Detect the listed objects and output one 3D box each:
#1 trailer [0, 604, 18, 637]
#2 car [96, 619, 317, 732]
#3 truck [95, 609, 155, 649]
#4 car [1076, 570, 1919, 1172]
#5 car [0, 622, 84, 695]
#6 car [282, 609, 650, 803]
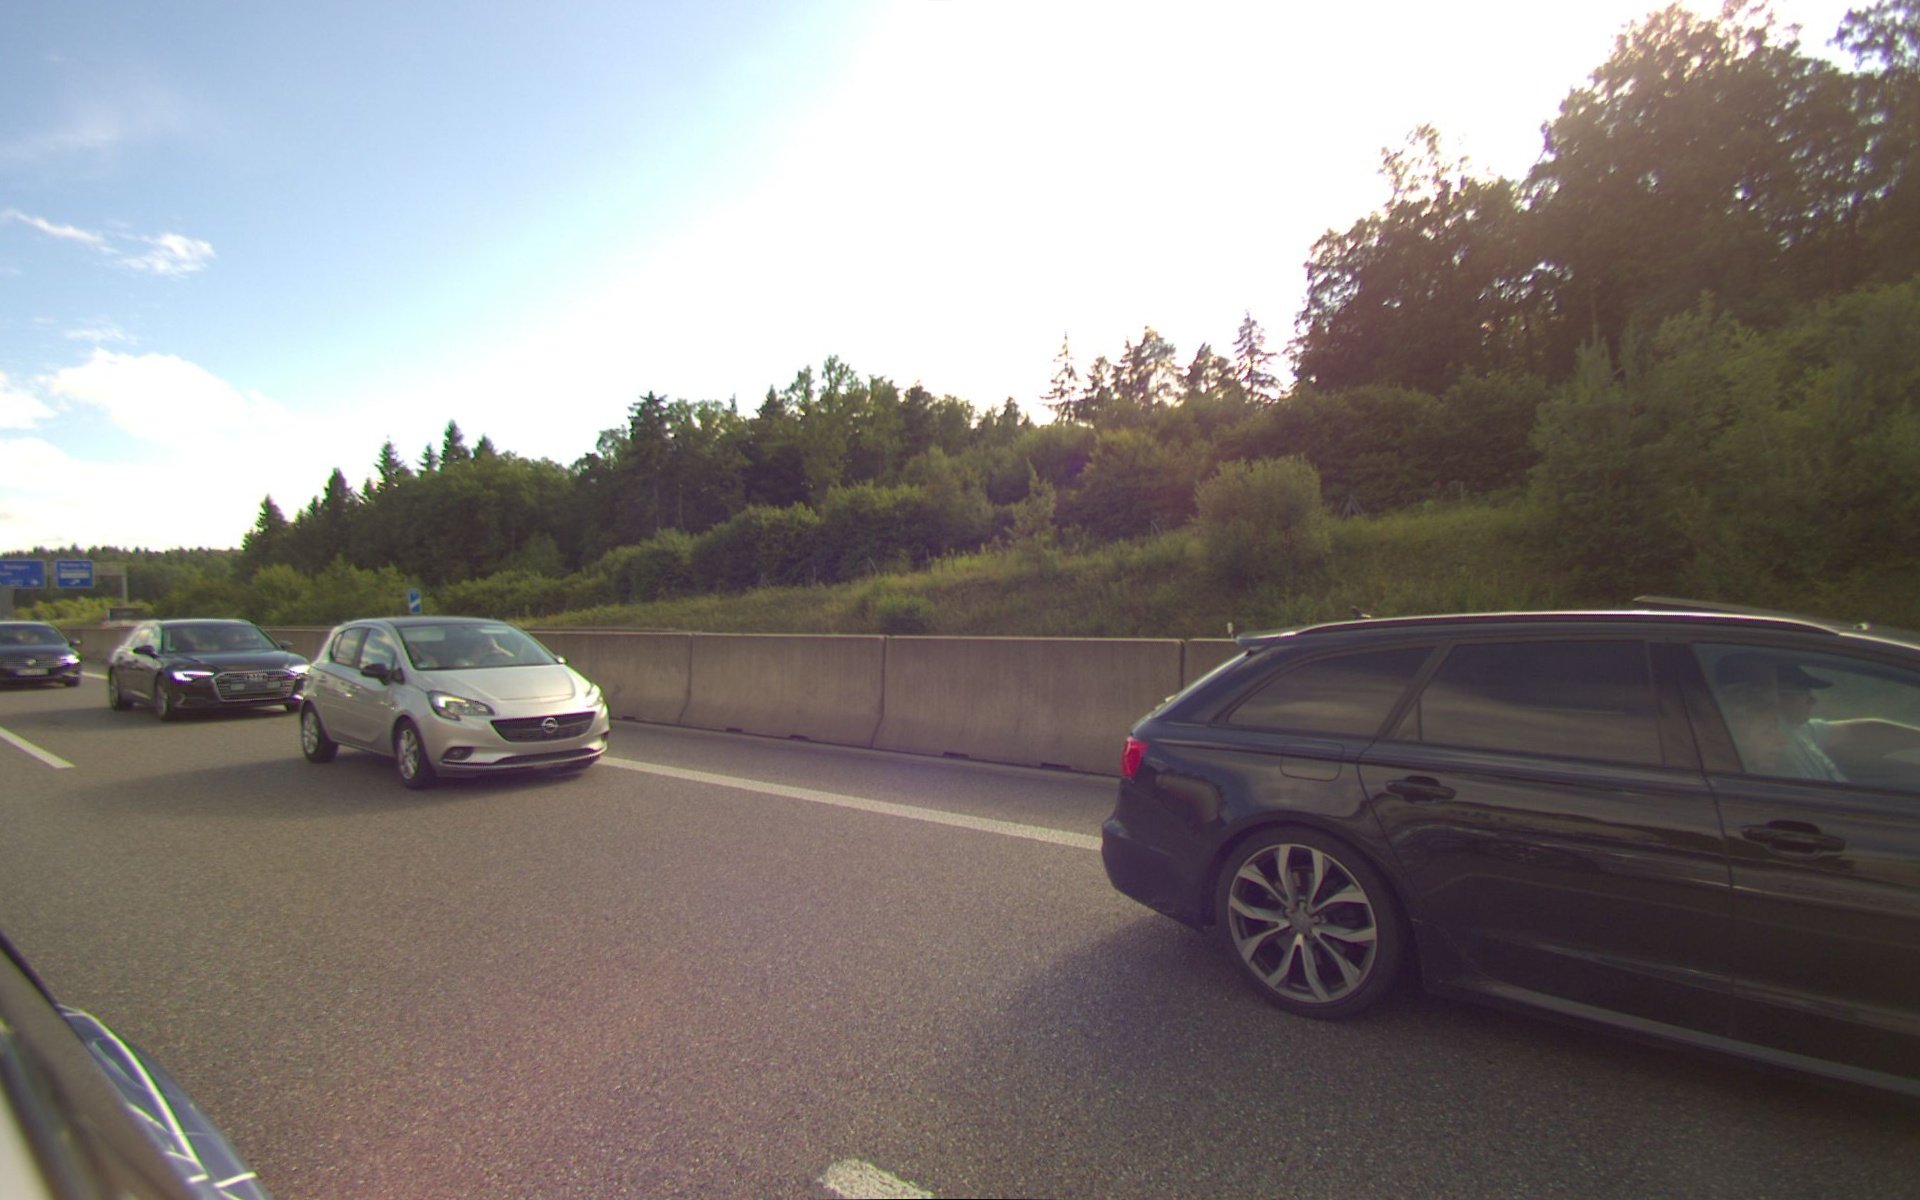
[{"bbox_3d":[-147.905,3.076,155.524,14.644,4.866,2.897,-1,0,40],"label":"trailer"},{"bbox_3d":[-11.971,1.074,15.947,4.850,1.483,1.862,-1,-1,42],"label":"car"},{"bbox_3d":[-62.614,2.168,75.835,6.426,2.876,2.398,-1,-1,40],"label":"truck"},{"bbox_3d":[2.857,0.656,3.226,4.745,1.467,1.824,-1,-1,41],"label":"car"},{"bbox_3d":[-21.275,1.257,22.793,4.568,1.489,1.890,-1,-1,43],"label":"car"},{"bbox_3d":[-4.851,0.860,9.697,4.038,1.477,1.729,-2,-2,41],"label":"car"}]
